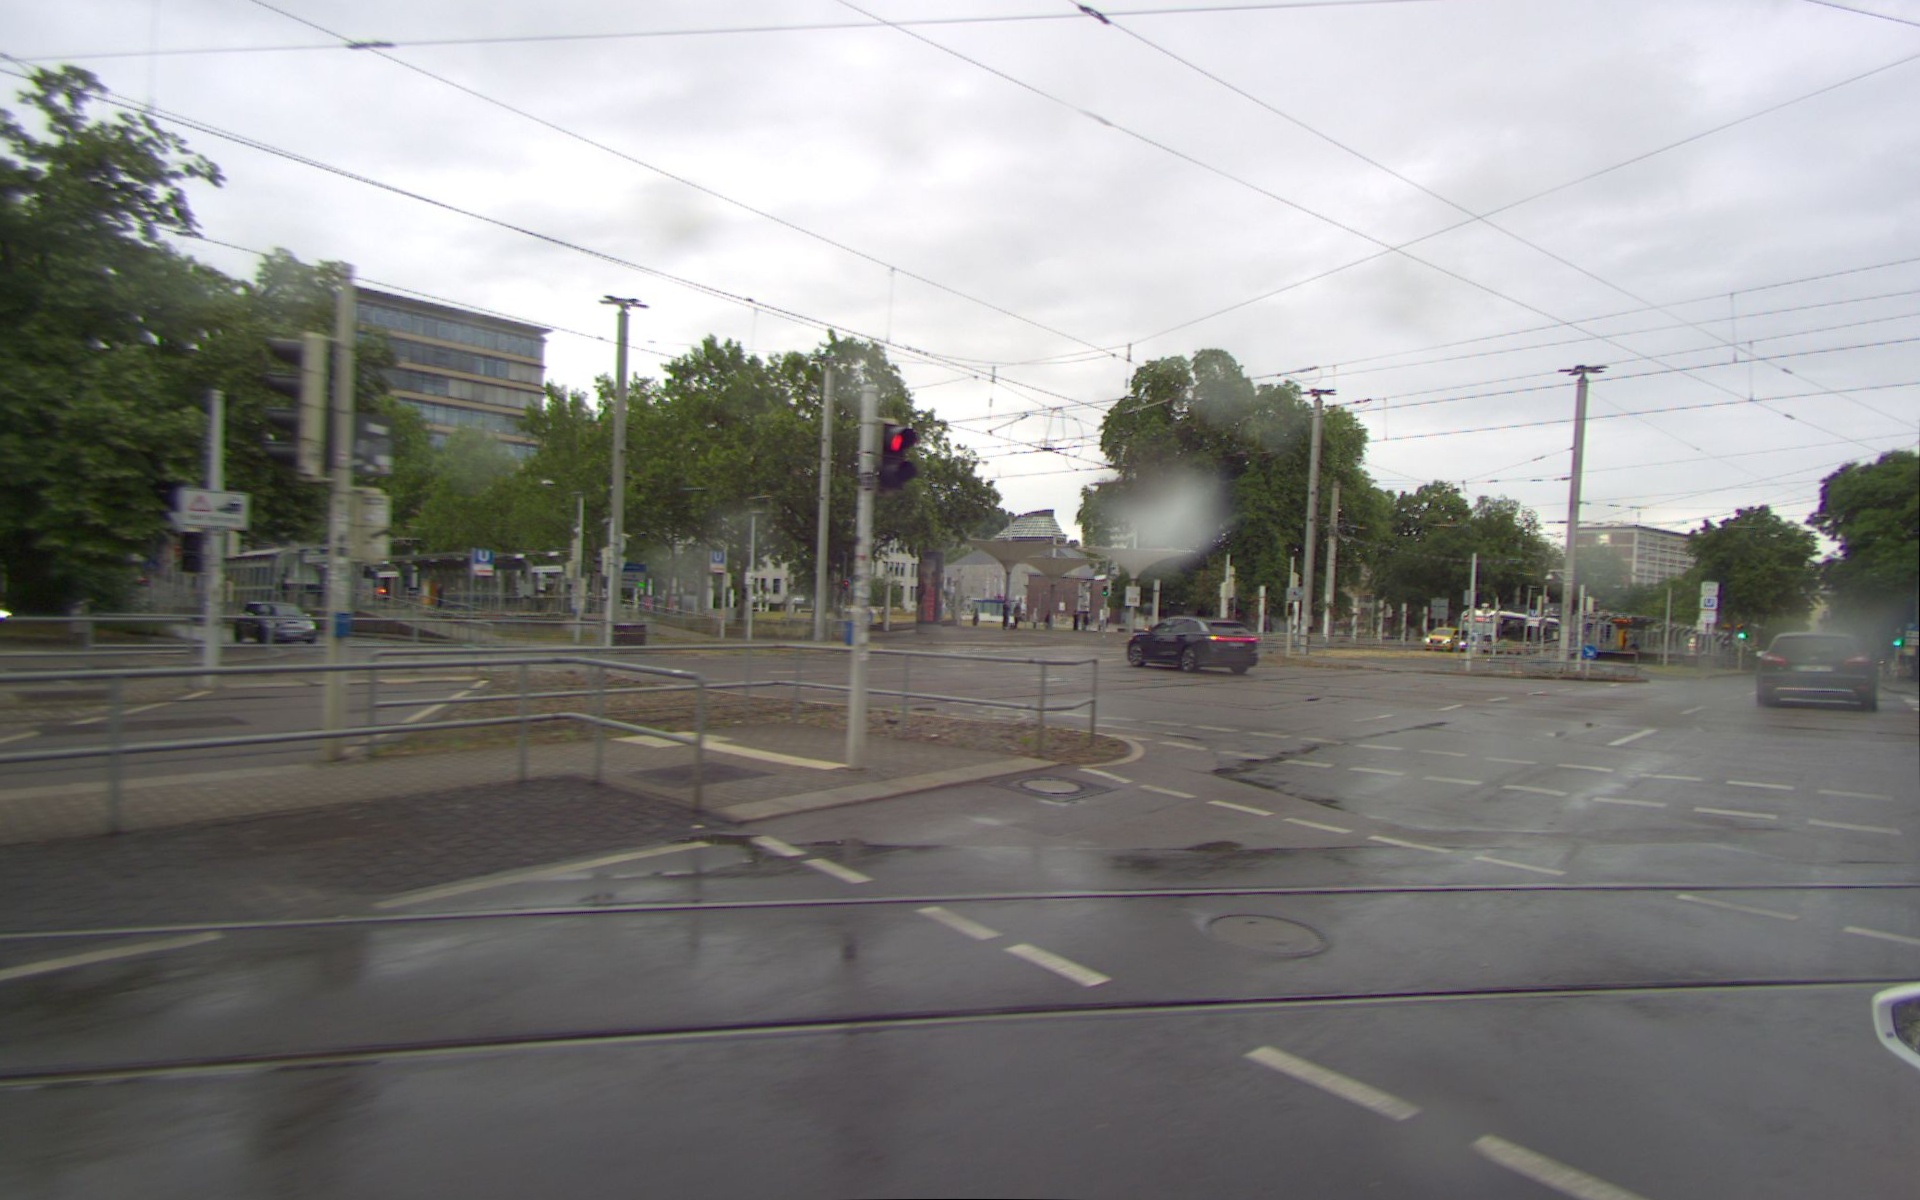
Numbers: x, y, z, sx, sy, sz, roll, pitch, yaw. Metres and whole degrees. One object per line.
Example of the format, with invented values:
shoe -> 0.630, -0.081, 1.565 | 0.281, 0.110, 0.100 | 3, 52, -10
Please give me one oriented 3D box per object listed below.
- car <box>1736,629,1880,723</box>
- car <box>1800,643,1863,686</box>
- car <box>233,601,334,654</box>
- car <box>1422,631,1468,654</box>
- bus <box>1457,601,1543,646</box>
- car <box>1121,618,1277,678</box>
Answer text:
car -> 17.413, 1.447, 20.544 | 2.013, 1.606, 4.367 | 2, 1, 43
car -> 43.140, 3.150, 49.699 | 2.015, 1.864, 4.364 | 2, 1, 45
car -> -23.511, 0.914, 34.880 | 3.942, 1.728, 1.990 | 0, -1, 42
car -> 37.735, 3.293, 78.115 | 1.972, 1.667, 4.510 | 0, -1, 44
bus -> 42.769, 1.889, 79.271 | 3.043, 3.344, 12.454 | 1, -1, 42
car -> 6.678, 1.312, 28.691 | 2.074, 1.526, 4.709 | 2, -1, -21
